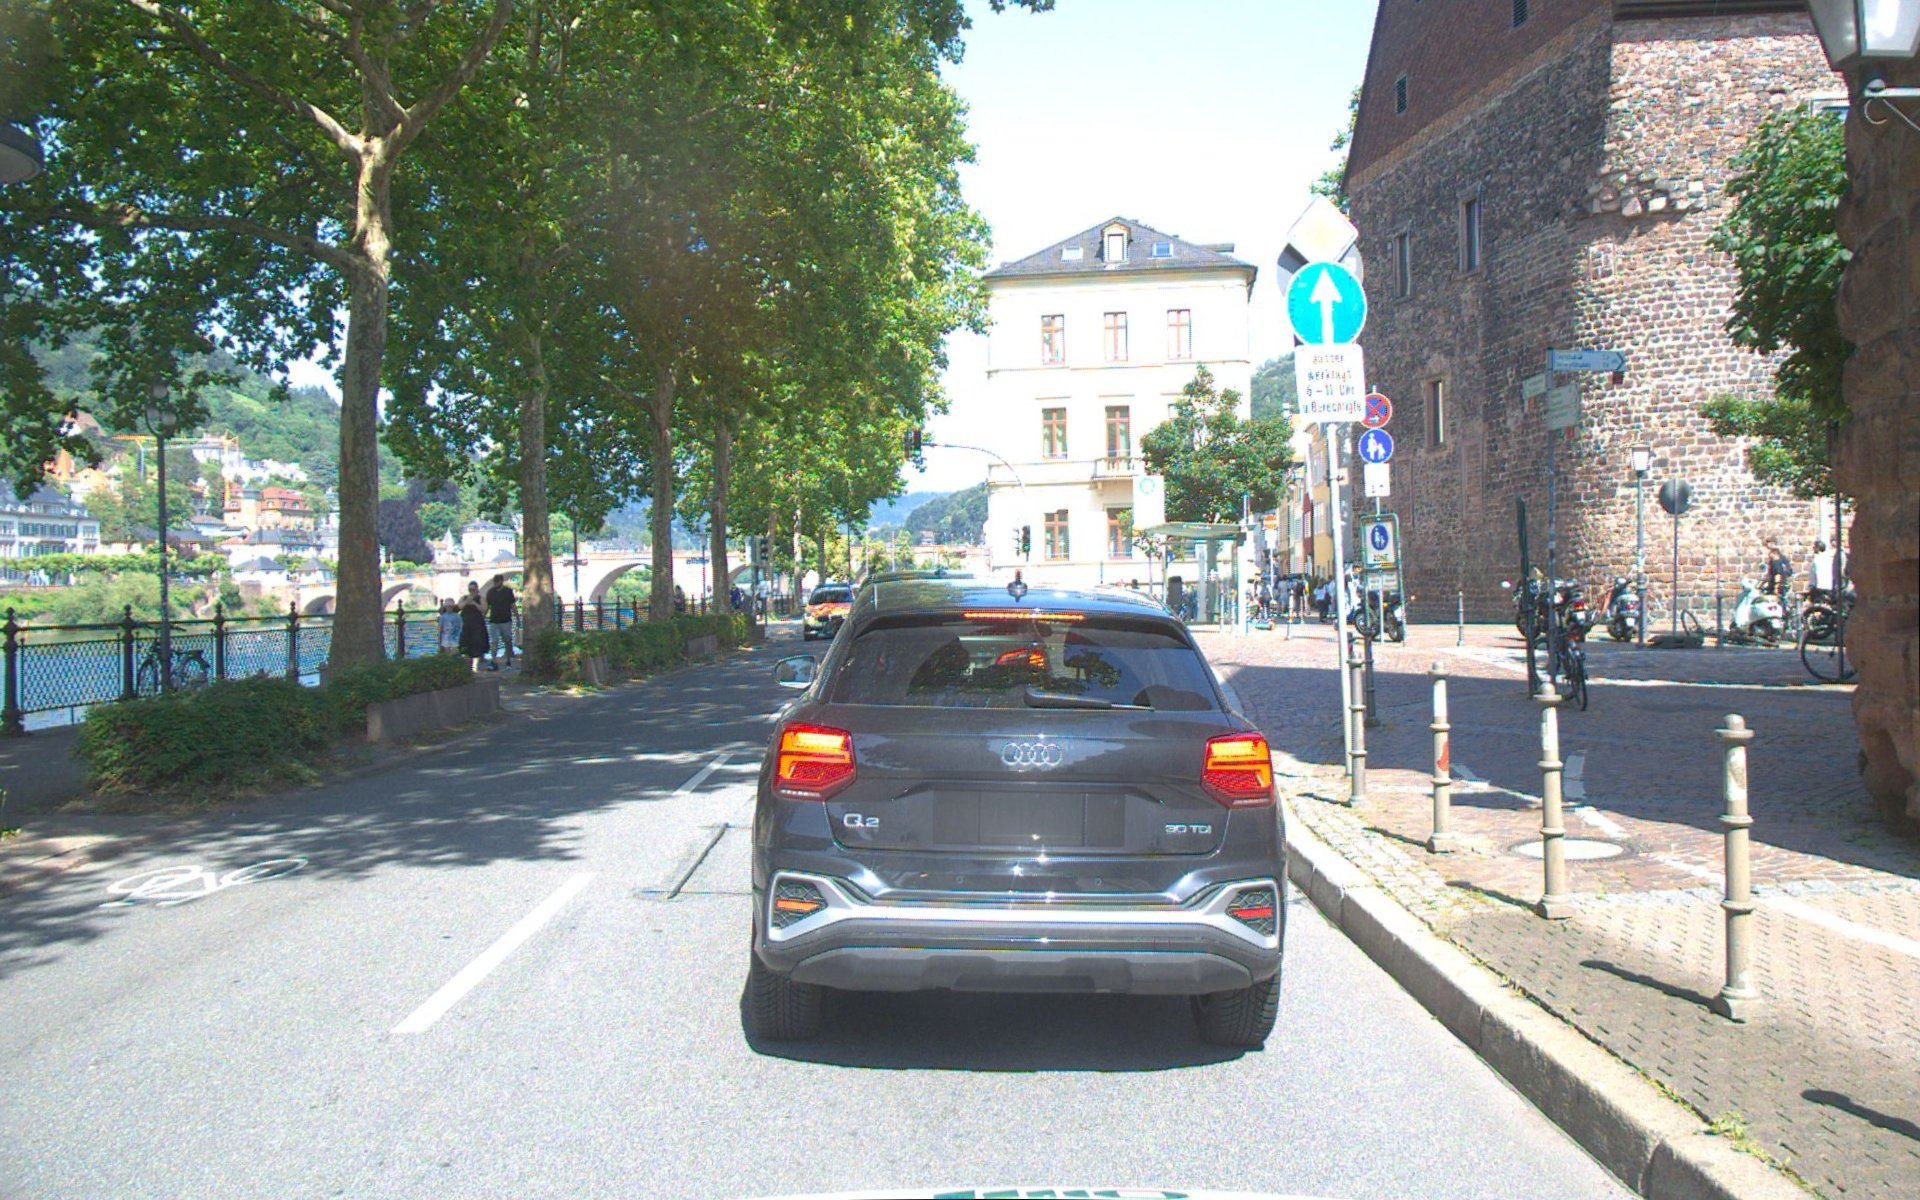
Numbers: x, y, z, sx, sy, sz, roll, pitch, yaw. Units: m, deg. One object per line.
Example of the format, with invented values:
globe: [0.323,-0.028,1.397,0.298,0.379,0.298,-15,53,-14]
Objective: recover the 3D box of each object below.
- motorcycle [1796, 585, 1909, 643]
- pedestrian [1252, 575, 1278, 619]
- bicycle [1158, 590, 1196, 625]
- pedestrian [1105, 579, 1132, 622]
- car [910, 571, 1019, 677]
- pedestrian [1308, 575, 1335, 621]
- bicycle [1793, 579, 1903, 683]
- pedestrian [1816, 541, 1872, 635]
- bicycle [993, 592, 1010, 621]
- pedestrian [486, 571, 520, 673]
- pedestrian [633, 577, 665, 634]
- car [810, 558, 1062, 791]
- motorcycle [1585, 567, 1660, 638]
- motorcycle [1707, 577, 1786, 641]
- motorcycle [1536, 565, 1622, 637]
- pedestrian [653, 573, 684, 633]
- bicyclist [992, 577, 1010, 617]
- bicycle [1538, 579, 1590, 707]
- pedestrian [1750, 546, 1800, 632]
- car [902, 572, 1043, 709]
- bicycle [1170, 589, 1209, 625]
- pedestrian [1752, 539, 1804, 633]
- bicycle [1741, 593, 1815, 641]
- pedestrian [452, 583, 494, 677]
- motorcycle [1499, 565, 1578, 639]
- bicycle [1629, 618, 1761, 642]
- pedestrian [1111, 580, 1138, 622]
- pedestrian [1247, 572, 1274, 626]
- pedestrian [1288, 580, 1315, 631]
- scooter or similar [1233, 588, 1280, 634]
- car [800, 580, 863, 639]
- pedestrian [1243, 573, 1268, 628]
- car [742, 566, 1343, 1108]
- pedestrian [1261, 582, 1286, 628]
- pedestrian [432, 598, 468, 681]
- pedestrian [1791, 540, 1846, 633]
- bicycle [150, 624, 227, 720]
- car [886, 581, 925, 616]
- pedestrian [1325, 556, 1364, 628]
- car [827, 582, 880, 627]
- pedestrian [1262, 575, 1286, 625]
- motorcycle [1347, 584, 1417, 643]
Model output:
motorcycle: [16.884,0.264,31.325,1.826,1.072,0.480,1,-1,7]
pedestrian: [10.261,-0.102,55.692,0.626,1.469,0.797,-2,0,-7]
bicycle: [6.515,0.217,49.695,1.166,1.033,0.178,1,-1,-20]
pedestrian: [4.684,0.008,48.969,0.651,1.253,0.640,1,-1,-7]
car: [0.040,0.378,29.019,1.758,1.711,3.999,1,0,-1]
pedestrian: [13.228,-0.068,60.508,0.678,1.640,0.890,-2,0,29]
bicycle: [10.603,0.348,19.799,0.437,1.182,1.731,-1,1,3]
pedestrian: [18.717,-0.252,35.021,0.662,1.954,0.812,1,-1,-31]
bicycle: [1.558,0.245,62.558,0.428,1.105,1.675,1,0,-5]
pedestrian: [-8.697,0.411,31.474,0.523,1.920,0.436,0,0,-1]
pedestrian: [-10.263,0.180,54.626,0.891,1.843,0.586,1,-1,3]
car: [-0.193,0.519,13.450,1.756,1.623,3.398,1,0,-1]
motorcycle: [12.207,0.053,30.550,0.535,1.257,2.030,1,0,-1]
motorcycle: [14.020,0.165,29.527,0.496,1.092,1.840,1,0,-1]
motorcycle: [11.334,0.017,30.368,0.661,1.257,2.312,1,0,-1]
pedestrian: [-10.026,0.096,56.865,0.891,2.049,0.586,1,-1,3]
bicyclist: [1.552,-0.115,62.523,0.593,1.475,0.590,1,-1,-6]
bicycle: [6.147,0.402,16.871,0.189,1.225,1.771,0,1,10]
pedestrian: [17.756,-0.237,36.018,0.832,1.834,0.650,0,0,43]
car: [0.124,0.464,21.573,1.676,1.637,3.654,0,0,-1]
bicycle: [6.819,0.218,49.089,1.184,1.053,0.178,1,-1,-20]
pedestrian: [18.188,-0.303,36.784,0.856,2.049,0.733,1,-1,13]
bicycle: [15.128,0.296,30.627,0.346,0.835,1.926,1,1,-2]
pedestrian: [-9.030,0.540,30.678,0.589,1.715,0.583,-1,0,-2]
motorcycle: [10.542,0.038,30.203,0.642,1.288,2.199,0,0,-1]
bicycle: [12.272,0.497,27.685,1.887,0.388,0.918,0,-1,14]
pedestrian: [4.796,0.032,48.256,0.651,1.233,0.640,1,-1,-7]
pedestrian: [10.677,-0.039,58.825,0.733,1.923,0.751,-2,0,26]
pedestrian: [13.875,0.230,67.202,0.921,2.049,0.807,1,-1,-1]
scooter or similar: [7.085,0.270,39.518,1.067,1.084,0.323,1,-1,-3]
car: [-3.997,0.280,52.087,1.639,1.689,4.222,-3,0,-1]
pedestrian: [7.621,0.014,42.632,0.546,1.409,0.588,1,-1,1]
car: [0.213,0.664,6.588,1.707,1.535,3.646,1,1,-1]
pedestrian: [14.040,0.223,74.097,0.925,2.049,0.807,1,-1,-1]
pedestrian: [-8.609,0.659,27.934,0.469,1.386,0.417,0,0,3]
pedestrian: [17.995,-0.279,34.684,0.663,1.917,0.811,1,-1,-35]
bicycle: [-9.533,0.871,20.469,0.352,1.110,1.295,2,0,-2]
car: [-2.968,-0.059,90.481,1.952,1.838,4.000,1,0,1]
pedestrian: [9.245,-0.191,39.761,0.790,1.691,0.656,-1,0,22]
car: [-4.247,0.154,66.492,1.732,1.689,4.001,-3,0,1]
pedestrian: [12.811,0.001,67.528,0.822,2.049,0.738,1,-1,-1]
motorcycle: [7.694,0.226,30.243,0.555,1.030,2.489,-1,1,-2]
